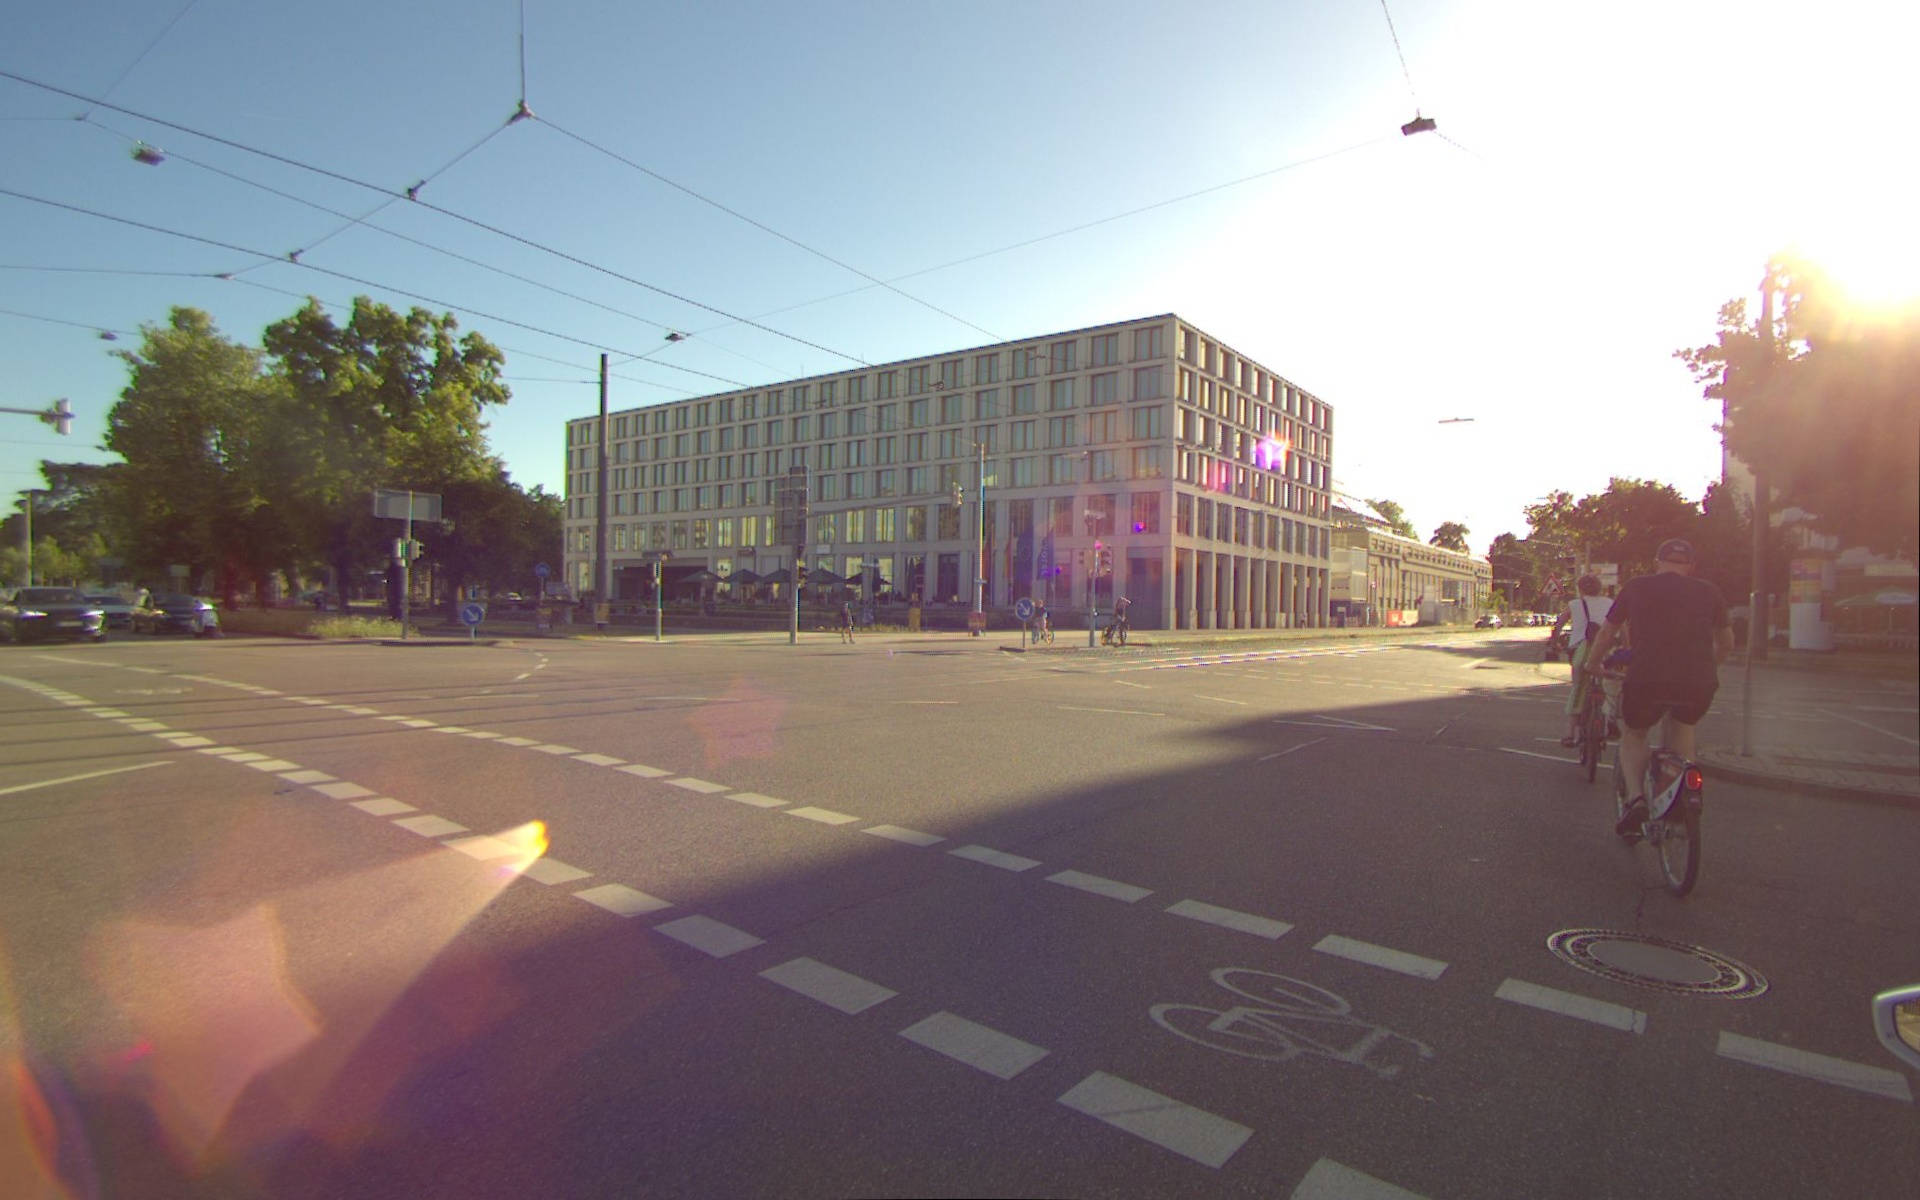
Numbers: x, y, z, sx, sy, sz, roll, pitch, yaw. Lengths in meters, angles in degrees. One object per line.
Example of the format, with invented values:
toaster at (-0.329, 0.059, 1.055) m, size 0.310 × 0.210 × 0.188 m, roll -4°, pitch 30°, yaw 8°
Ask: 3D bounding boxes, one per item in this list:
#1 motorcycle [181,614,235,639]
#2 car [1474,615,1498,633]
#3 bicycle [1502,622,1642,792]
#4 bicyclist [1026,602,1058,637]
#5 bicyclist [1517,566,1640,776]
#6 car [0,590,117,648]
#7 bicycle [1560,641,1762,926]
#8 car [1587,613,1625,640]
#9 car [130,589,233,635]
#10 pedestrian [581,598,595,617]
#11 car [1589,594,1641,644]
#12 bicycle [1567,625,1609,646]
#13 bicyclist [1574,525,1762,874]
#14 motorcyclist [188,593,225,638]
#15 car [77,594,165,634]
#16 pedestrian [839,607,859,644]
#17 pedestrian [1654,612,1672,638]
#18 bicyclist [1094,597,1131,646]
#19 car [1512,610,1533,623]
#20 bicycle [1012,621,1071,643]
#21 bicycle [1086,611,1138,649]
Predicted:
motorcycle at (-24.681, 0.862, 32.982) m, size 1.283 × 0.806 × 0.624 m, roll 1°, pitch 0°, yaw -2°
car at (61.396, 2.822, 117.313) m, size 1.967 × 1.996 × 3.987 m, roll 1°, pitch -1°, yaw 35°
bicycle at (5.401, 0.849, 8.782) m, size 0.766 × 1.256 × 2.303 m, roll 3°, pitch 0°, yaw 37°
bicyclist at (3.263, 0.775, 39.893) m, size 0.963 × 1.380 × 0.819 m, roll 1°, pitch 0°, yaw -35°
bicyclist at (5.451, 0.589, 8.837) m, size 0.763 × 1.713 × 0.922 m, roll 3°, pitch 0°, yaw 38°
car at (-26.962, 0.525, 29.919) m, size 4.478 × 1.594 × 1.992 m, roll 0°, pitch -1°, yaw 39°
bicycle at (4.013, 0.898, 5.712) m, size 0.766 × 1.256 × 2.013 m, roll 3°, pitch 1°, yaw 37°
car at (37.493, 1.522, 58.276) m, size 1.675 × 1.447 × 3.987 m, roll 1°, pitch -1°, yaw 35°
car at (-28.798, 0.426, 37.121) m, size 4.478 × 1.594 × 1.992 m, roll 0°, pitch -1°, yaw 39°
pedestrian at (-30.976, 0.619, 83.628) m, size 0.750 × 1.546 × 0.782 m, roll 1°, pitch 0°, yaw 39°
car at (41.312, 1.197, 63.308) m, size 2.557 × 2.992 × 5.072 m, roll 1°, pitch -1°, yaw 35°
bicycle at (28.351, 1.611, 45.350) m, size 1.577 × 0.901 × 0.769 m, roll 1°, pitch 0°, yaw 30°
bicyclist at (3.966, 0.503, 5.633) m, size 0.743 × 1.766 × 0.835 m, roll 3°, pitch 0°, yaw 38°
motorcyclist at (-24.750, 0.512, 32.989) m, size 0.722 × 1.466 × 0.607 m, roll 1°, pitch 0°, yaw -2°
car at (-35.591, 0.578, 42.571) m, size 4.478 × 1.594 × 1.992 m, roll 1°, pitch -1°, yaw 39°
pedestrian at (-4.759, 1.100, 43.096) m, size 0.593 × 1.546 × 0.622 m, roll 1°, pitch 0°, yaw 33°
pedestrian at (47.906, 1.690, 68.466) m, size 0.769 × 1.763 × 0.895 m, roll 1°, pitch 0°, yaw 19°
bicyclist at (5.182, 0.719, 34.151) m, size 0.840 × 1.641 × 0.967 m, roll 1°, pitch 0°, yaw -23°
car at (72.017, 2.117, 128.604) m, size 1.967 × 1.662 × 3.987 m, roll 1°, pitch -1°, yaw 35°
bicycle at (3.249, 1.271, 39.865) m, size 2.311 × 0.862 × 0.835 m, roll 1°, pitch -1°, yaw -34°
bicycle at (5.165, 1.011, 34.190) m, size 0.834 × 1.247 × 2.003 m, roll 1°, pitch -1°, yaw -23°
